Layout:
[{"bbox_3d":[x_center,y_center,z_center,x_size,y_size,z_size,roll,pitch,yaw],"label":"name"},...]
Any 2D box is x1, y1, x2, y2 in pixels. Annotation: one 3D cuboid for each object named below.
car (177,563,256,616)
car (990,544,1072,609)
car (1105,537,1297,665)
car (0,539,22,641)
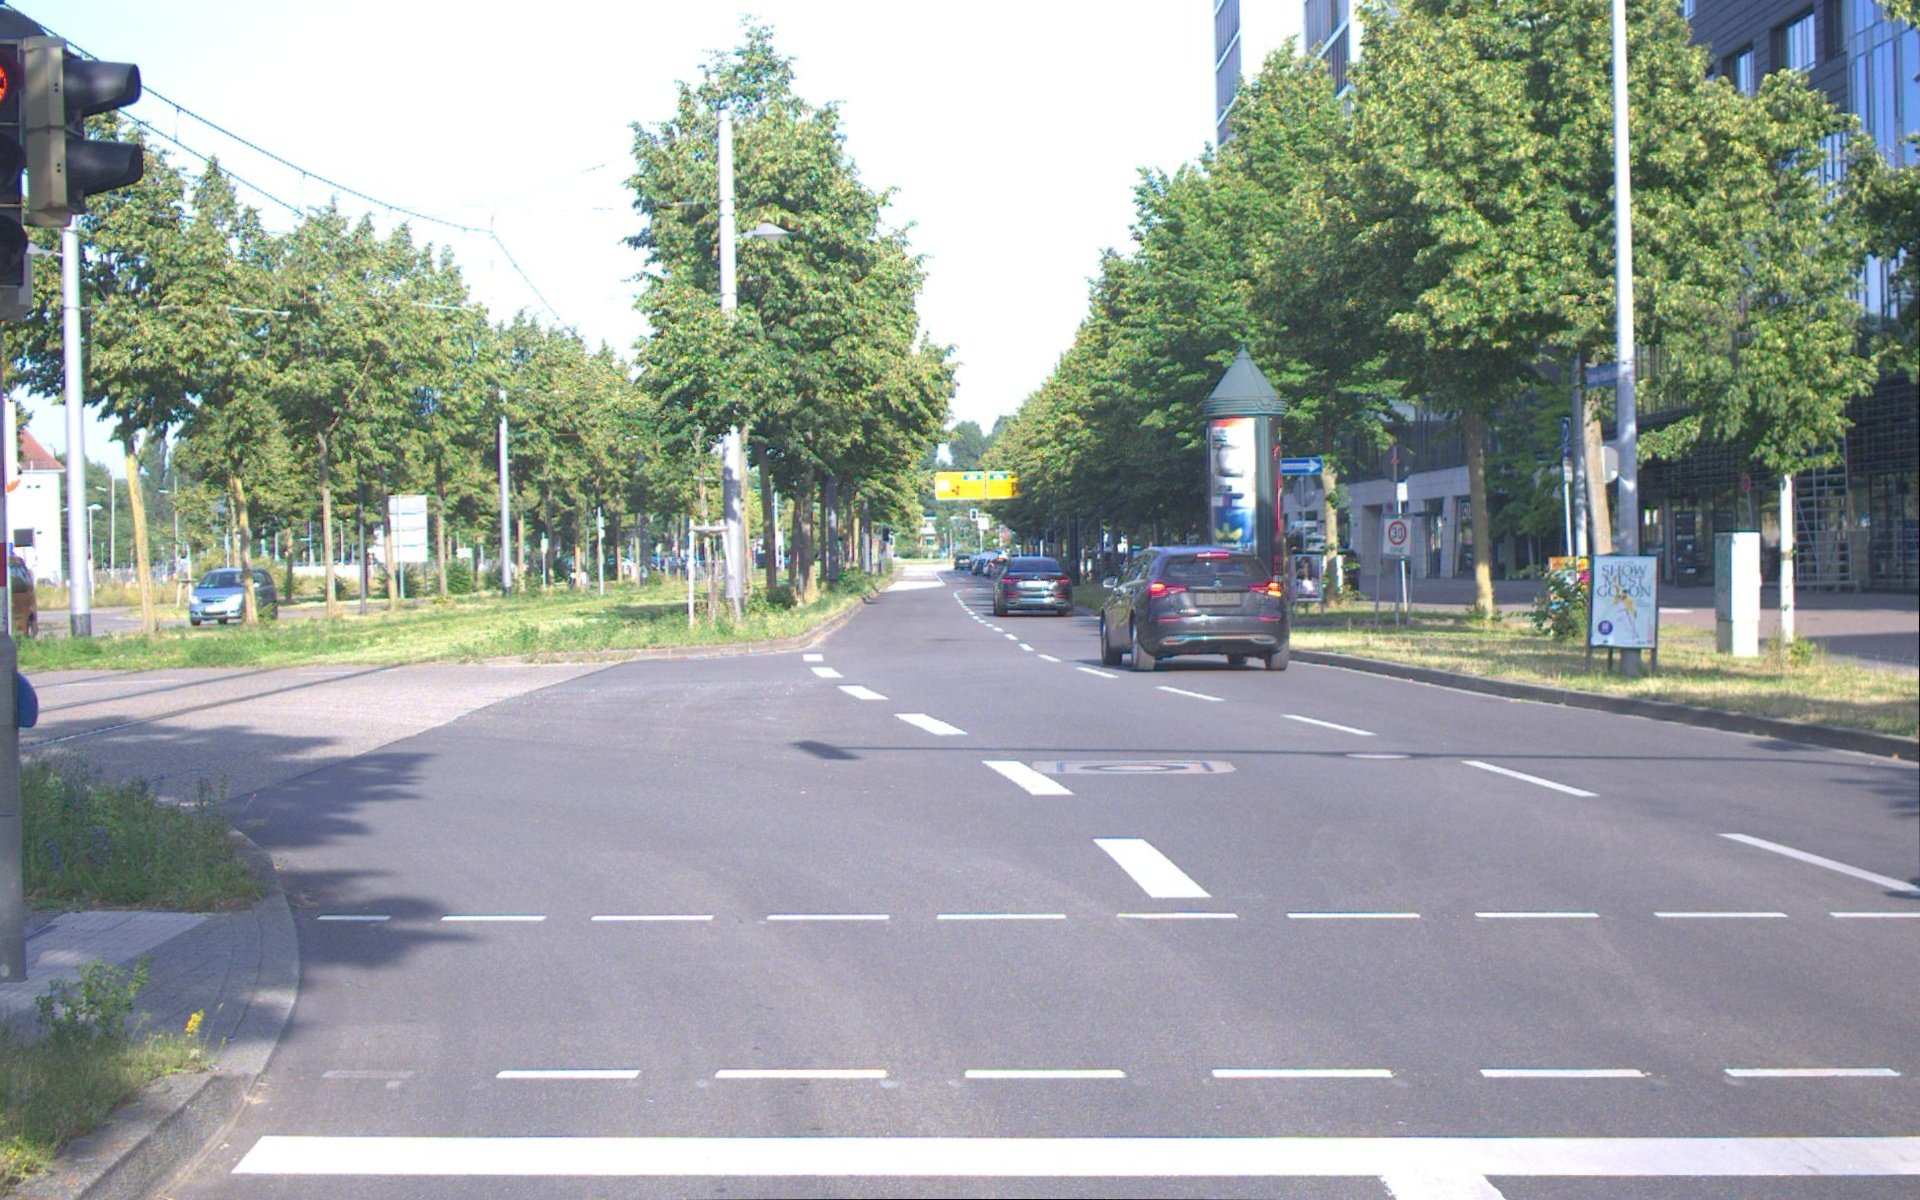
[{"bbox_3d":[-20.969,-0.316,97.108,1.638,1.438,3.957,1,1,-4],"label":"car"},{"bbox_3d":[1.688,-0.574,83.100,1.859,1.519,3.786,1,1,0],"label":"car"},{"bbox_3d":[2.789,-0.010,40.582,1.774,1.419,3.961,1,1,-3],"label":"car"},{"bbox_3d":[-17.555,-0.186,59.734,1.684,1.769,3.883,1,1,-4],"label":"car"}]
